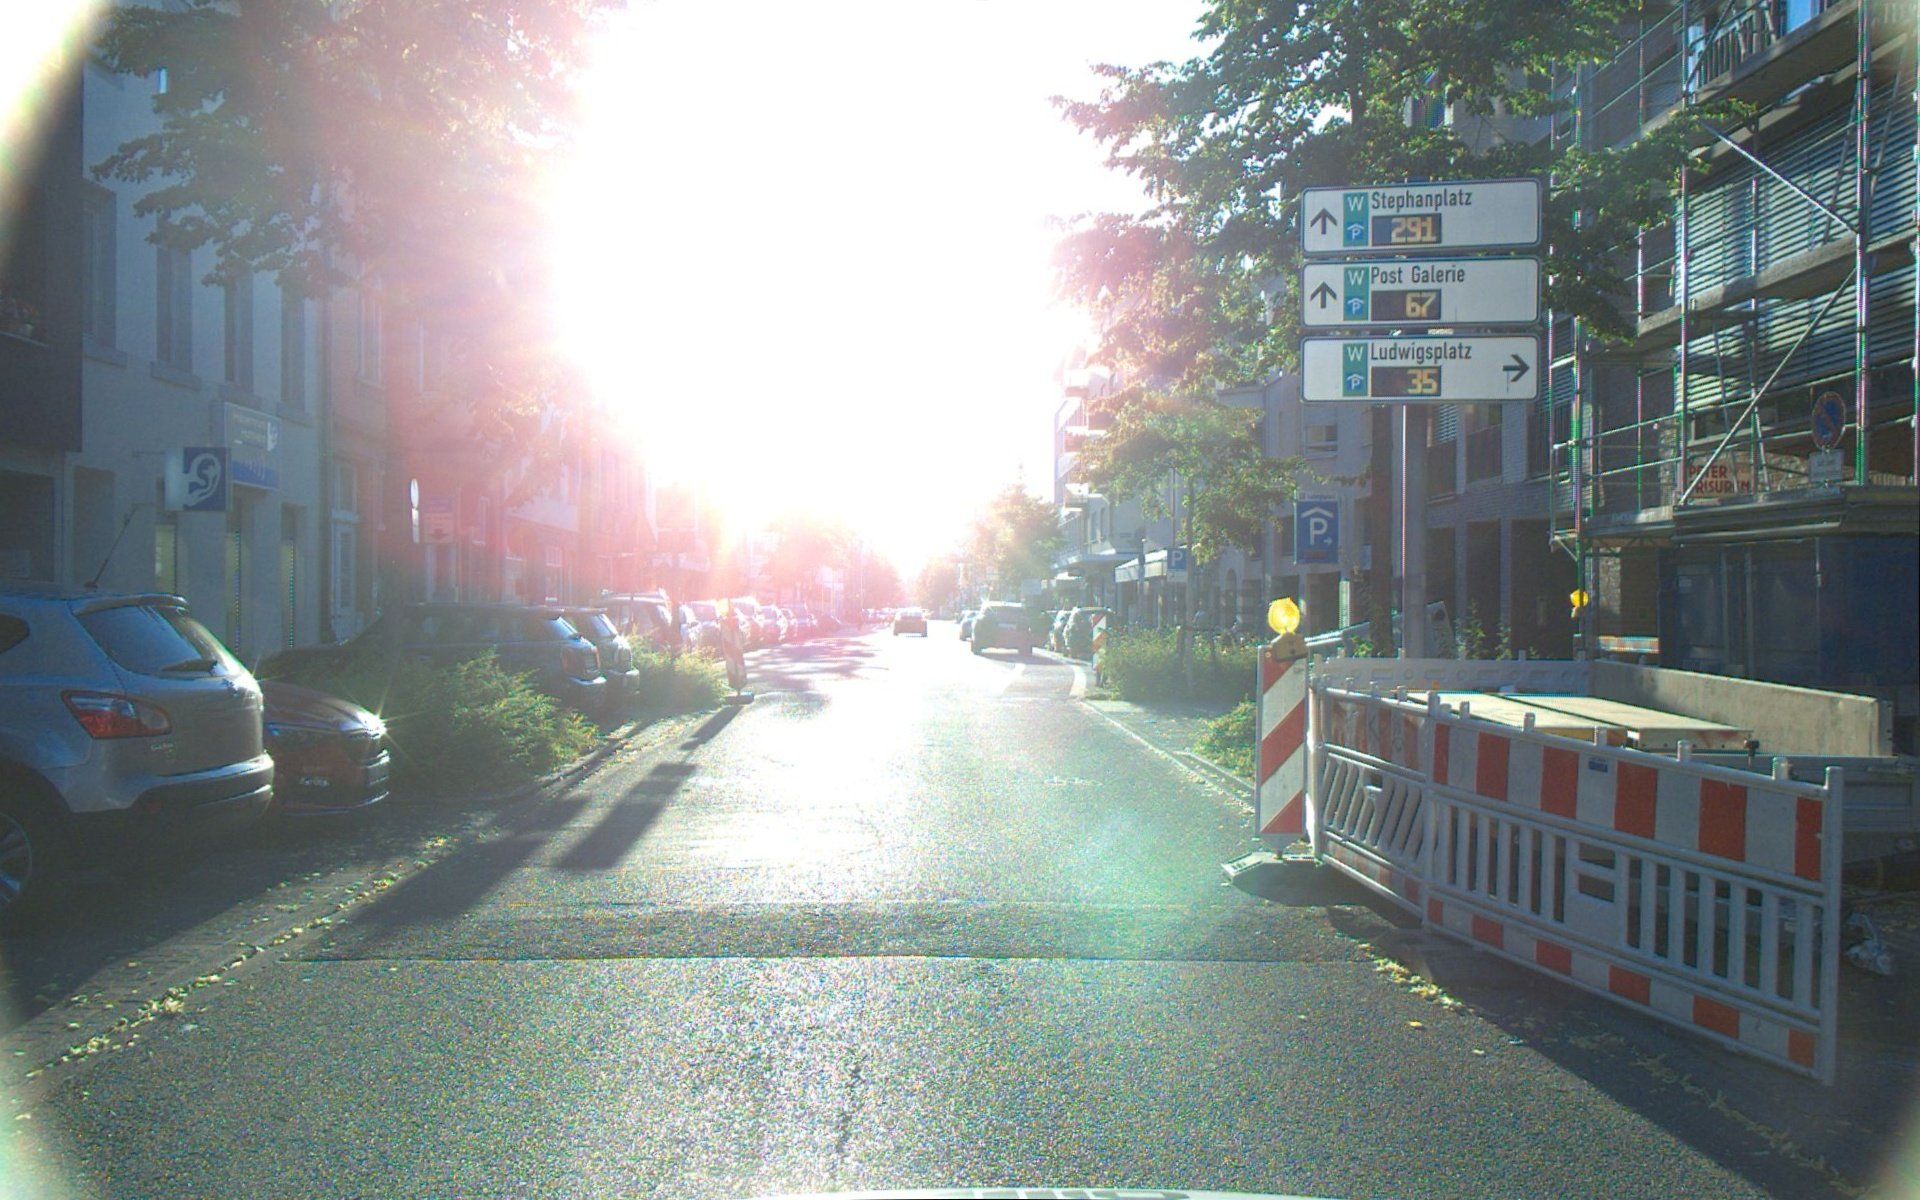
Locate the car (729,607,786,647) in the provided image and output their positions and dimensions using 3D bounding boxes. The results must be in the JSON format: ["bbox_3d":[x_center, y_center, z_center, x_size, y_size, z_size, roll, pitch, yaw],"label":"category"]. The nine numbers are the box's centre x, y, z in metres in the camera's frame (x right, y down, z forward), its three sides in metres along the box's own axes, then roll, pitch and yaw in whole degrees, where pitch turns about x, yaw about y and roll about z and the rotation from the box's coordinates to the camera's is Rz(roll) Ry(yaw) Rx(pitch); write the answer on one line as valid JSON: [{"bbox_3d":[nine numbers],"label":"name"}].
[{"bbox_3d":[-8.446,1.117,69.330,1.790,1.583,5.134,-2,0,-1],"label":"car"}]

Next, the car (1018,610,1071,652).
[{"bbox_3d":[3.058,1.105,60.175,1.600,1.449,3.756,-1,-1,-2],"label":"car"}]

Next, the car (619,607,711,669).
[{"bbox_3d":[-7.704,0.963,43.465,1.738,1.541,3.949,0,0,-1],"label":"car"}]

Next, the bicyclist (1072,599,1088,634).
[{"bbox_3d":[5.980,0.806,82.525,0.637,1.732,1.094,0,-1,-4],"label":"bicyclist"}]

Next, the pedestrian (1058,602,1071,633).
[{"bbox_3d":[6.026,0.996,95.472,0.673,1.752,0.717,-1,-1,4],"label":"pedestrian"}]

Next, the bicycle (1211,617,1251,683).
[{"bbox_3d":[5.109,0.927,31.199,0.374,1.210,1.521,1,-1,-5],"label":"bicycle"}]

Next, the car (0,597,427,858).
[{"bbox_3d":[-5.773,0.766,10.681,4.125,1.543,1.760,0,-1,-5],"label":"car"}]

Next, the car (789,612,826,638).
[{"bbox_3d":[-8.346,1.360,90.999,1.796,1.351,4.122,0,0,-2],"label":"car"}]

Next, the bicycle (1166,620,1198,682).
[{"bbox_3d":[4.182,0.951,31.230,0.374,1.119,1.565,0,-1,0],"label":"bicycle"}]

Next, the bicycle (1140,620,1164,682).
[{"bbox_3d":[3.652,0.953,31.393,0.363,1.127,1.524,0,-1,10],"label":"bicycle"}]

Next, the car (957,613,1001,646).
[{"bbox_3d":[0.882,1.394,78.985,1.883,1.440,4.546,2,-1,-1],"label":"car"}]

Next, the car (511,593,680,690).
[{"bbox_3d":[-6.310,0.704,28.822,2.641,1.547,1.570,-2,1,-5],"label":"car"}]

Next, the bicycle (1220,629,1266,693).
[{"bbox_3d":[5.102,1.085,29.855,0.374,1.119,1.520,0,-1,-8],"label":"bicycle"}]

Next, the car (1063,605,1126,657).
[{"bbox_3d":[4.302,0.979,53.161,1.600,1.581,2.692,-1,-1,-4],"label":"car"}]

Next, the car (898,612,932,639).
[{"bbox_3d":[-2.467,1.419,91.292,1.845,1.440,4.323,1,-1,-1],"label":"car"}]

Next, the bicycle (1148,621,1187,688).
[{"bbox_3d":[3.600,0.930,28.805,0.374,1.119,1.522,0,-1,-4],"label":"bicycle"}]

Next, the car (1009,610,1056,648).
[{"bbox_3d":[2.941,1.163,67.825,1.669,1.461,3.931,-2,-1,-1],"label":"car"}]

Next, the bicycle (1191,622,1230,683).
[{"bbox_3d":[4.705,0.969,31.134,0.374,1.119,1.521,1,-1,-5],"label":"bicycle"}]

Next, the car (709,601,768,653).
[{"bbox_3d":[-8.389,1.006,63.043,1.791,1.842,5.345,-1,0,-3],"label":"car"}]

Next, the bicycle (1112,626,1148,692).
[{"bbox_3d":[2.991,1.029,29.154,0.374,1.119,1.522,0,-1,-4],"label":"bicycle"}]

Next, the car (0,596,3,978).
[{"bbox_3d":[-5.715,0.758,5.984,3.573,1.541,1.649,0,0,4],"label":"car"}]

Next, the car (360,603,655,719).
[{"bbox_3d":[-5.804,0.768,21.479,3.326,1.416,1.687,1,0,1],"label":"car"}]

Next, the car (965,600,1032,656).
[{"bbox_3d":[1.209,0.905,54.266,1.954,1.684,4.672,2,-1,-1],"label":"car"}]

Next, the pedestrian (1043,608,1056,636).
[{"bbox_3d":[5.141,1.281,95.427,0.674,1.586,0.862,0,-1,-1],"label":"pedestrian"}]

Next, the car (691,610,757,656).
[{"bbox_3d":[-8.071,1.102,56.859,1.678,1.466,4.308,-1,0,-1],"label":"car"}]

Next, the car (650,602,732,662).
[{"bbox_3d":[-7.733,0.909,47.845,1.738,1.661,4.237,0,0,-1],"label":"car"}]

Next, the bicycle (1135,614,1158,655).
[{"bbox_3d":[5.903,1.077,52.358,0.389,1.256,1.824,-1,-1,-4],"label":"bicycle"}]

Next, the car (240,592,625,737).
[{"bbox_3d":[-5.957,0.716,19.028,3.814,1.544,1.856,1,0,-1],"label":"car"}]

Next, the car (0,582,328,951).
[{"bbox_3d":[-5.369,0.719,8.201,3.746,1.613,1.741,1,-1,1],"label":"car"}]

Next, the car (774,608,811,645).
[{"bbox_3d":[-8.581,1.358,84.905,1.797,1.887,4.119,0,-1,-5],"label":"car"}]

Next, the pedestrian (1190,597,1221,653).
[{"bbox_3d":[7.479,0.773,50.457,0.794,1.675,0.606,-2,-2,-2],"label":"pedestrian"}]
